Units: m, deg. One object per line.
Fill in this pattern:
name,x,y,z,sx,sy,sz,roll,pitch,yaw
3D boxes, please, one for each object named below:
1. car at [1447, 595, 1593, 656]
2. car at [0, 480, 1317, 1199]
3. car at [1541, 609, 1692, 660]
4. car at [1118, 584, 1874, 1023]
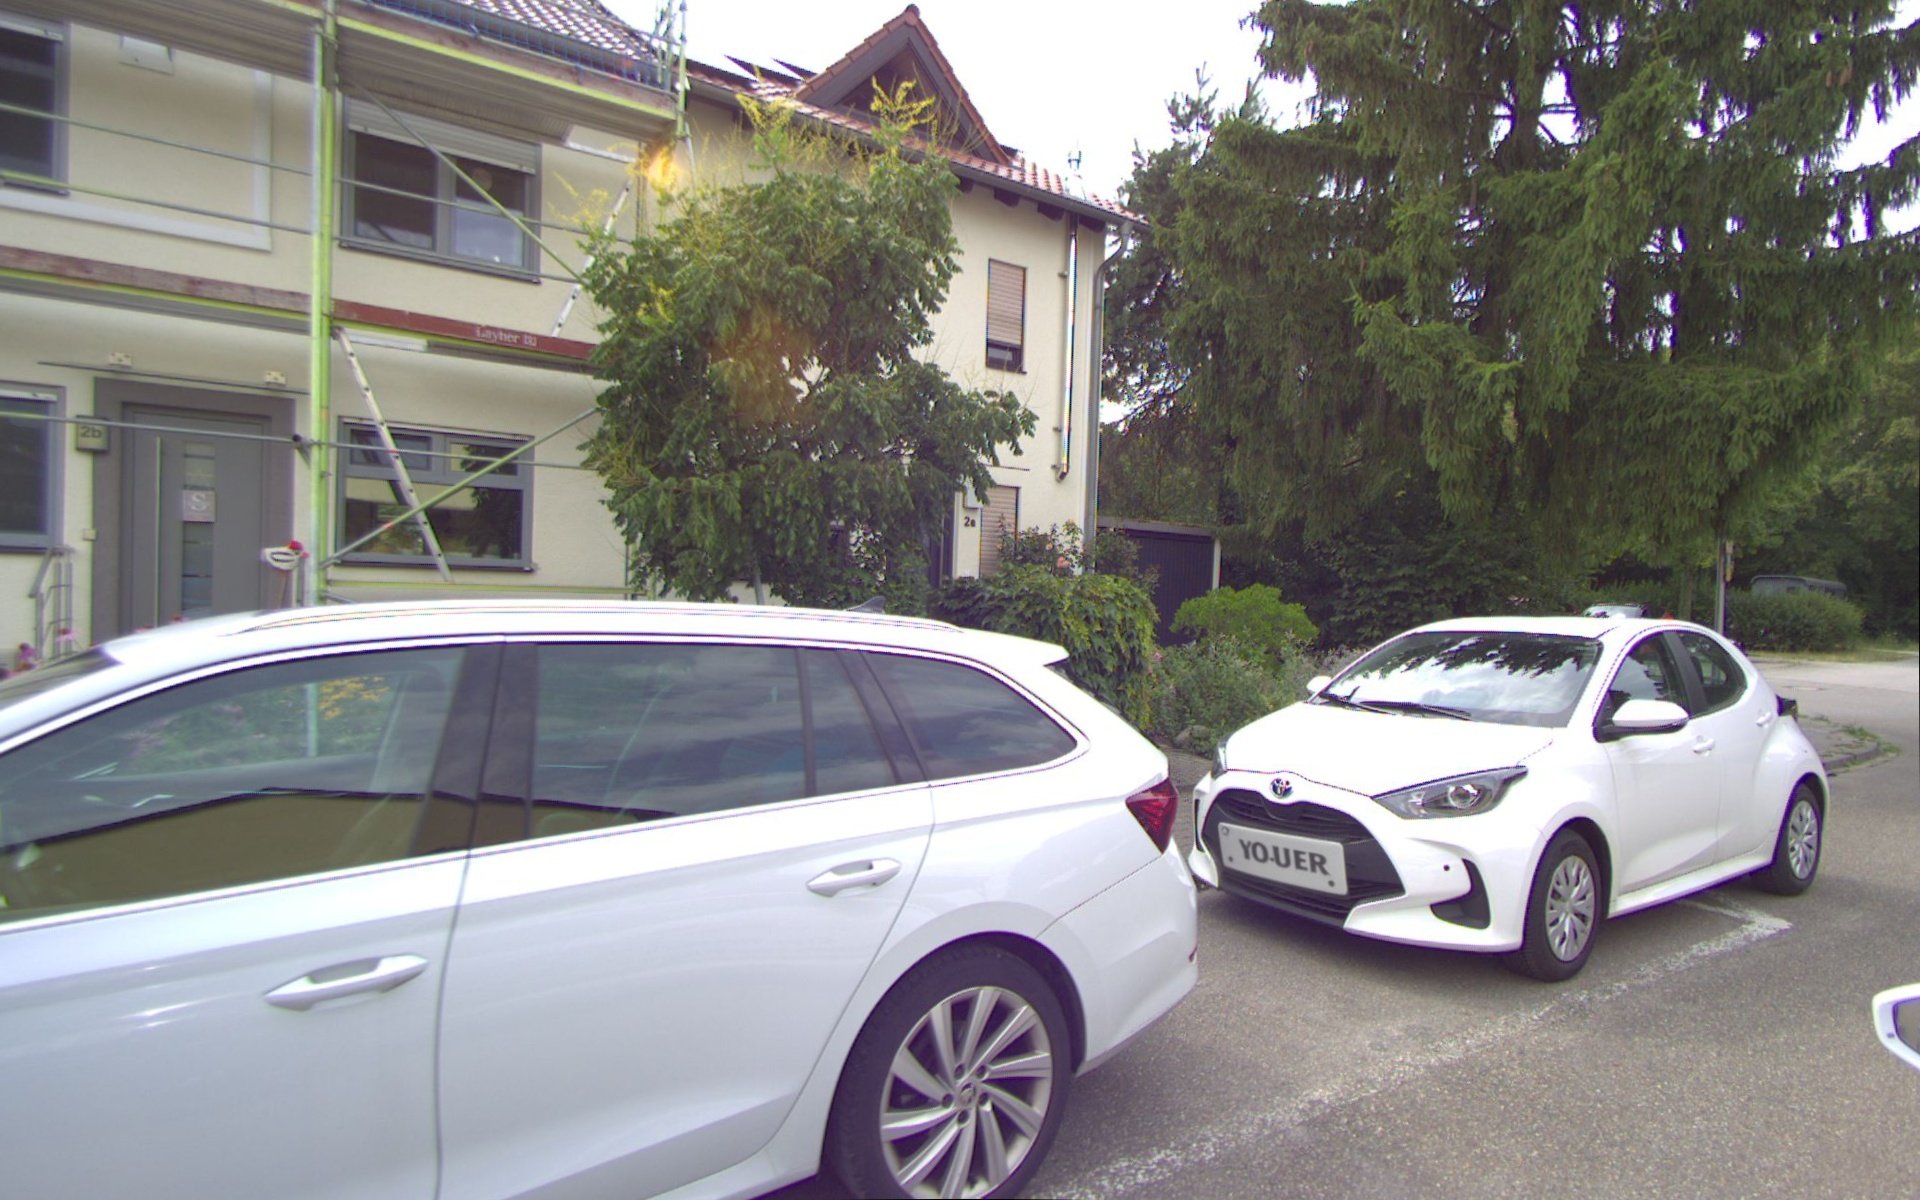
car,17.531,0.782,31.385,4.644,1.708,2.078,1,1,-34
car,-1.465,0.622,2.374,4.796,1.583,1.799,1,0,-33
car,19.047,0.974,29.088,4.644,1.308,1.981,1,1,-34
car,3.008,0.750,5.405,4.094,1.551,1.782,1,0,-32
